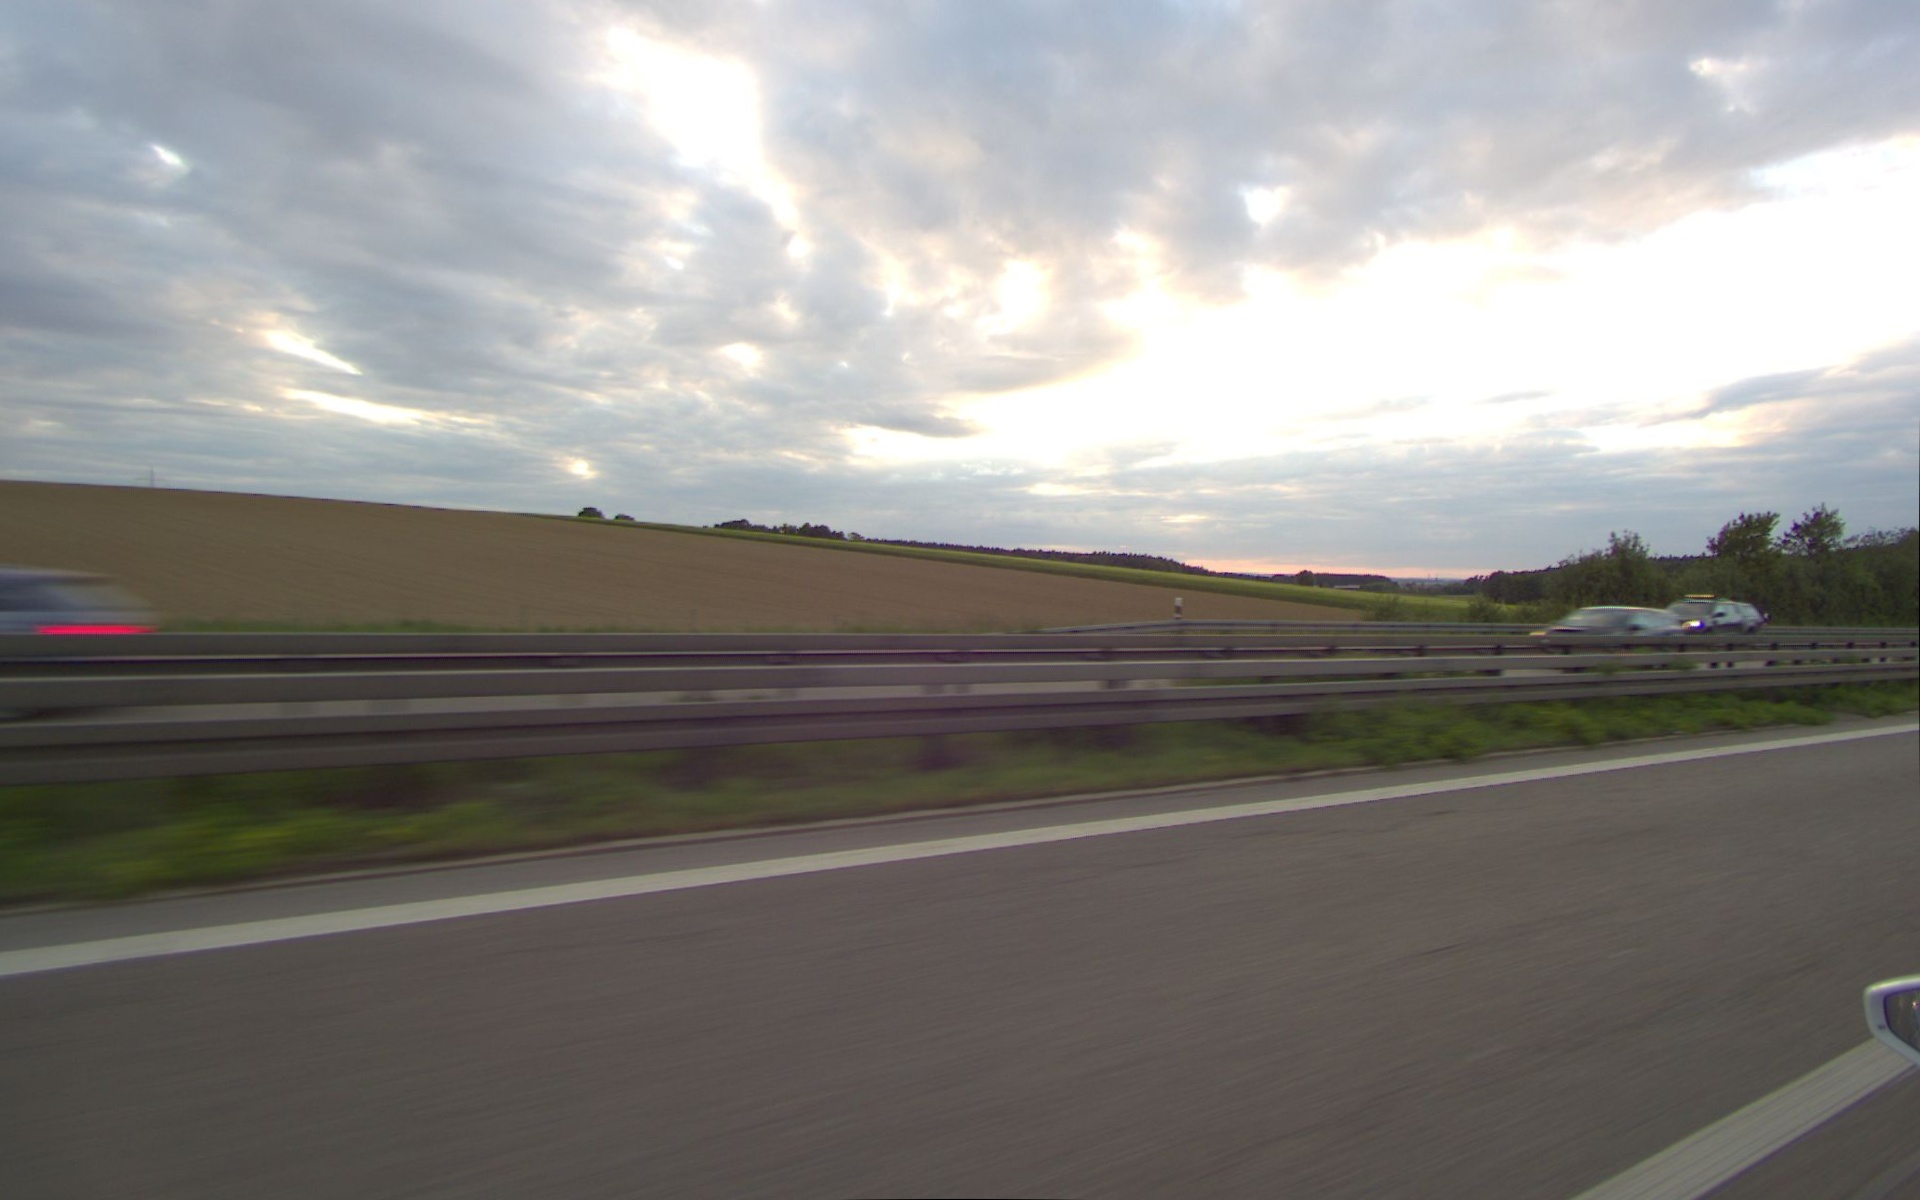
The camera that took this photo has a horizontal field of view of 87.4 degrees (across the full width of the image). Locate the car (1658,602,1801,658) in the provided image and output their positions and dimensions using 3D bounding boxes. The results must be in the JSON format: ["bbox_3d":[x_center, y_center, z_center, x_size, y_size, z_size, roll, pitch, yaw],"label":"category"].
[{"bbox_3d":[27.067,1.032,35.274,5.700,1.716,1.877,1,3,-30],"label":"car"}]

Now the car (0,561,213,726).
[{"bbox_3d":[-9.571,0.344,8.894,4.565,1.384,1.559,1,3,-30],"label":"car"}]

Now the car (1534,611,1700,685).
[{"bbox_3d":[15.267,1.050,23.281,4.086,1.460,1.650,1,3,-33],"label":"car"}]
